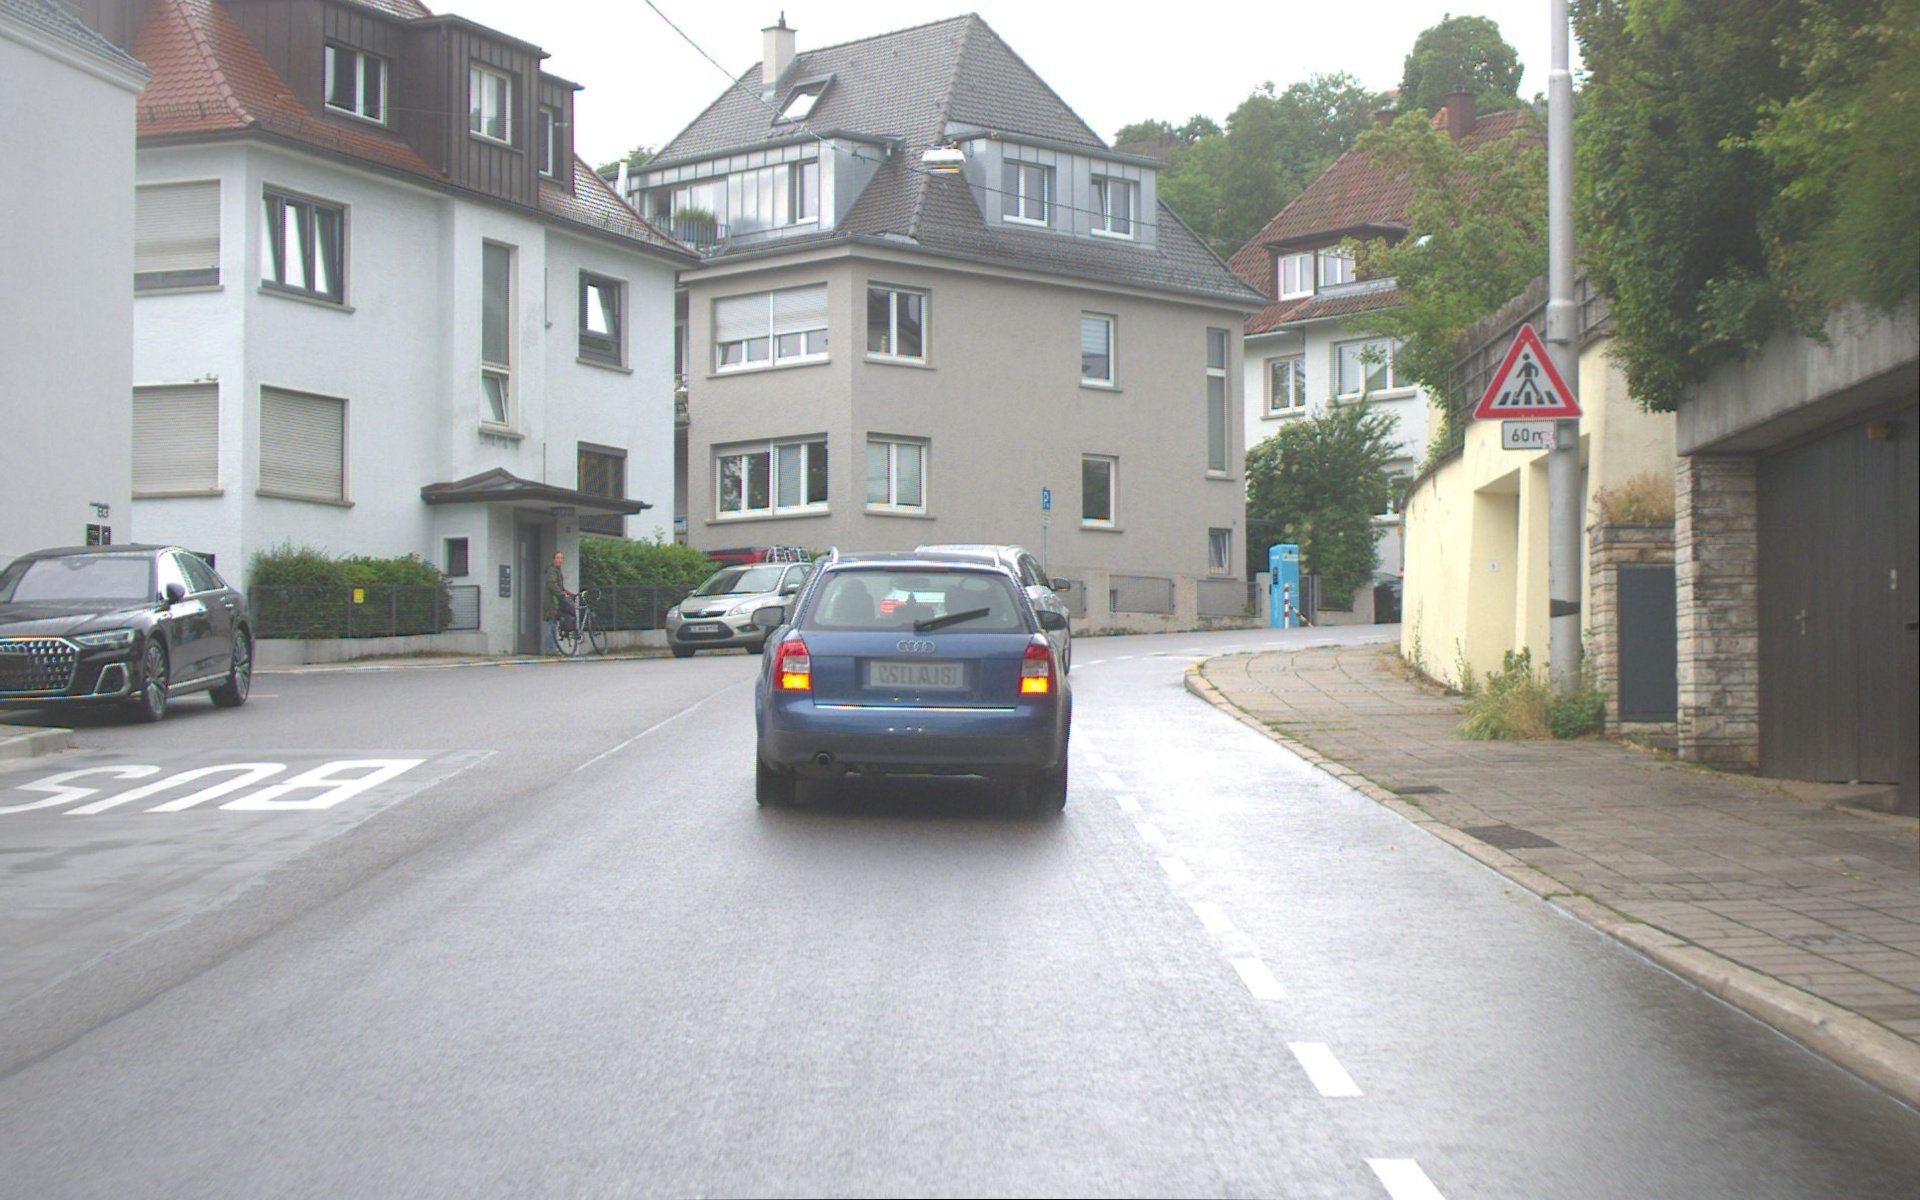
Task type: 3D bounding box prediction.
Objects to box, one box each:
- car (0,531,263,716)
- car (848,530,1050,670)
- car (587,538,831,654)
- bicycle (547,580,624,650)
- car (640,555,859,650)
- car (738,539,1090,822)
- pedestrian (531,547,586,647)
[{"bbox_3d":[-7.578,0.184,30.175,1.829,1.480,4.991,-1,0,1],"label":"car"},{"bbox_3d":[-0.173,0.015,36.508,1.811,1.356,4.000,2,-1,-4],"label":"car"},{"bbox_3d":[-4.699,-0.072,64.332,3.992,1.817,1.997,-6,-2,28],"label":"car"},{"bbox_3d":[-5.912,0.232,54.372,0.456,1.063,1.920,0,1,18],"label":"bicycle"},{"bbox_3d":[-3.336,0.022,55.235,1.838,1.420,4.225,-2,0,22],"label":"car"},{"bbox_3d":[-0.232,0.385,20.120,1.811,1.434,4.081,2,1,0],"label":"car"},{"bbox_3d":[-6.356,-0.048,54.421,0.493,1.572,0.947,0,1,18],"label":"pedestrian"}]
